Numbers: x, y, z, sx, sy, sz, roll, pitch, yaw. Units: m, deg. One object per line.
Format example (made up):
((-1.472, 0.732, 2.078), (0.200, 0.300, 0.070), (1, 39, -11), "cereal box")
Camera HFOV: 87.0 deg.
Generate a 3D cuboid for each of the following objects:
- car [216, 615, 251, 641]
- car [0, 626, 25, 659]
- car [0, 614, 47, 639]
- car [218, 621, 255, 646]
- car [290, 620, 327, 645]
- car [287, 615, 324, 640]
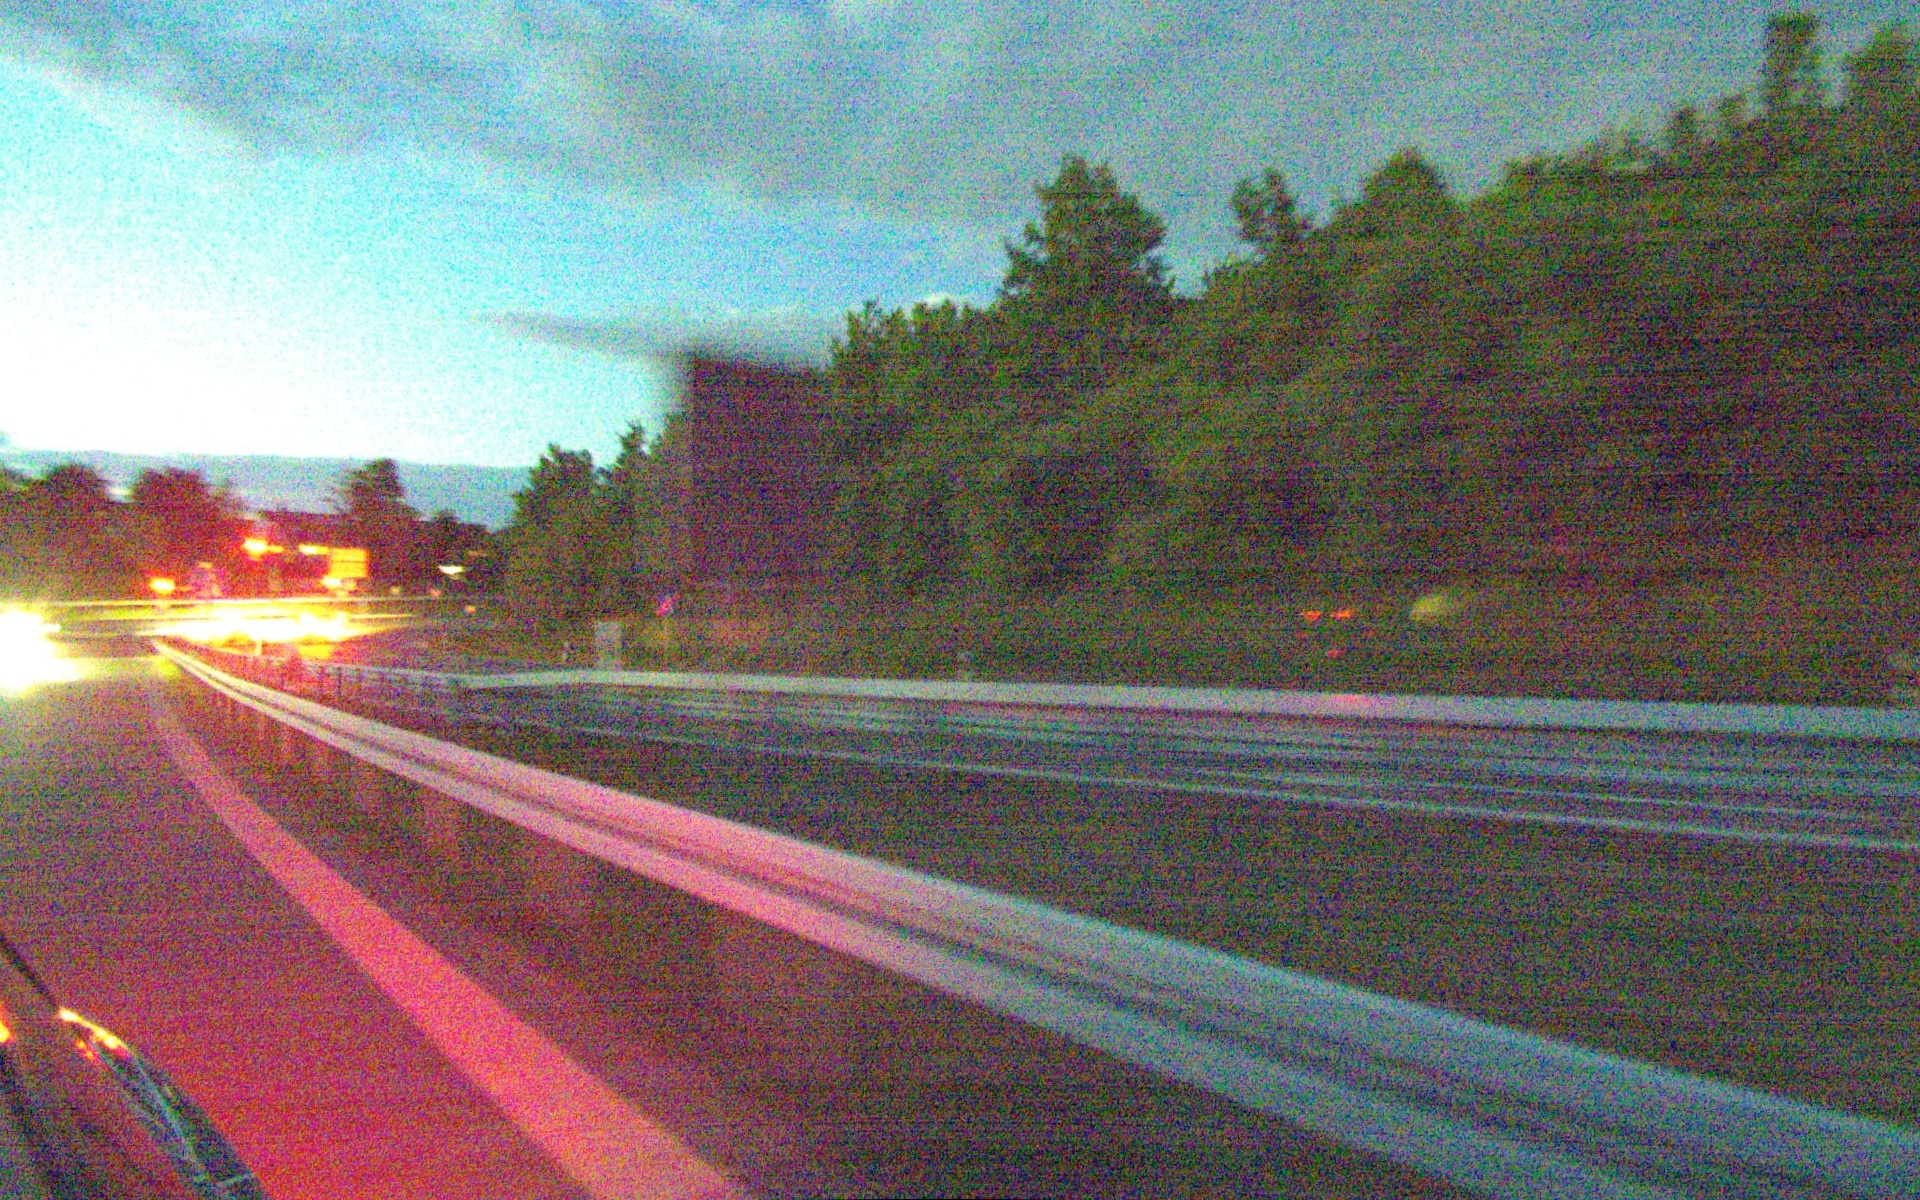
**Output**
((-49.877, 1.876, 69.429), (1.678, 1.485, 3.877), (-1, 3, -40), "car")
((-45.889, 2.009, 48.224), (1.736, 1.470, 4.200), (0, 0, -40), "car")
((-60.149, 1.691, 64.947), (1.630, 1.461, 3.500), (0, 0, -30), "car")
((-45.200, 2.056, 63.188), (1.688, 1.455, 3.993), (0, 0, -38), "car")
((-41.598, 2.043, 64.579), (1.662, 1.470, 3.820), (1, 0, -38), "car")
((-45.440, 1.857, 70.238), (1.732, 1.471, 4.008), (-2, 3, -38), "car")
